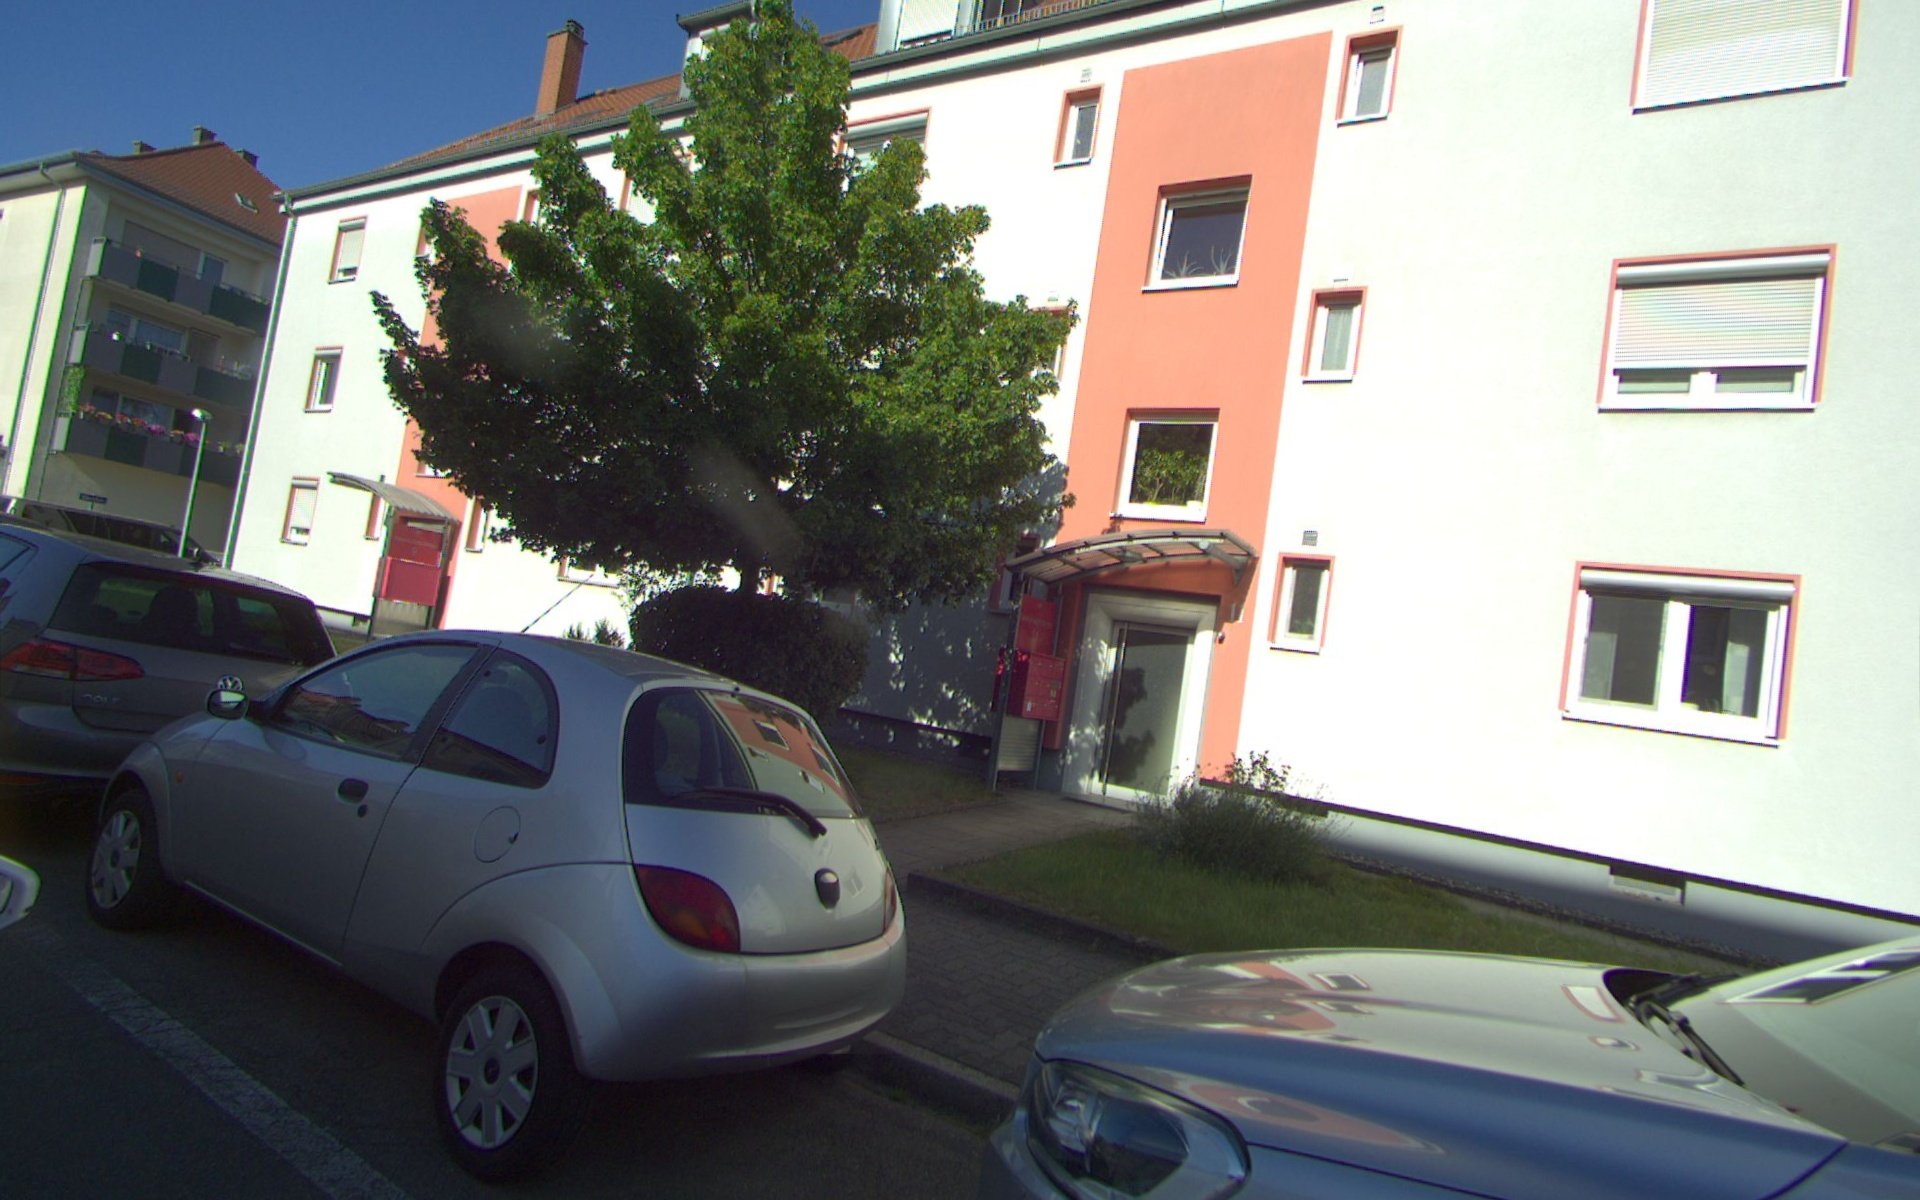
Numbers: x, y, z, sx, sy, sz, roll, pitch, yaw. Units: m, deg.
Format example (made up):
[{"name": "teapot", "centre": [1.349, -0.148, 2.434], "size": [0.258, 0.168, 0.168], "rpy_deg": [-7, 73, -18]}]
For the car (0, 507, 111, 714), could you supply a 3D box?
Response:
[{"name": "car", "centre": [-9.059, -0.149, 8.373], "size": [3.548, 1.566, 1.624], "rpy_deg": [7, -4, 27]}]

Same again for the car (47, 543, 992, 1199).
[{"name": "car", "centre": [-1.836, 0.737, 3.987], "size": [3.431, 1.409, 1.633], "rpy_deg": [7, -3, 32]}]

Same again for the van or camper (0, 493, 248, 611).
[{"name": "van or camper", "centre": [-21.820, -1.190, 25.908], "size": [1.967, 2.034, 5.139], "rpy_deg": [9, -3, 32]}]

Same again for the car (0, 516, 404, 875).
[{"name": "car", "centre": [-5.299, 0.315, 5.777], "size": [3.883, 1.463, 1.637], "rpy_deg": [8, -6, 28]}]

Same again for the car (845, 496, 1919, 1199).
[{"name": "car", "centre": [2.103, 1.075, 1.224], "size": [4.233, 1.735, 1.784], "rpy_deg": [7, -6, 29]}]
